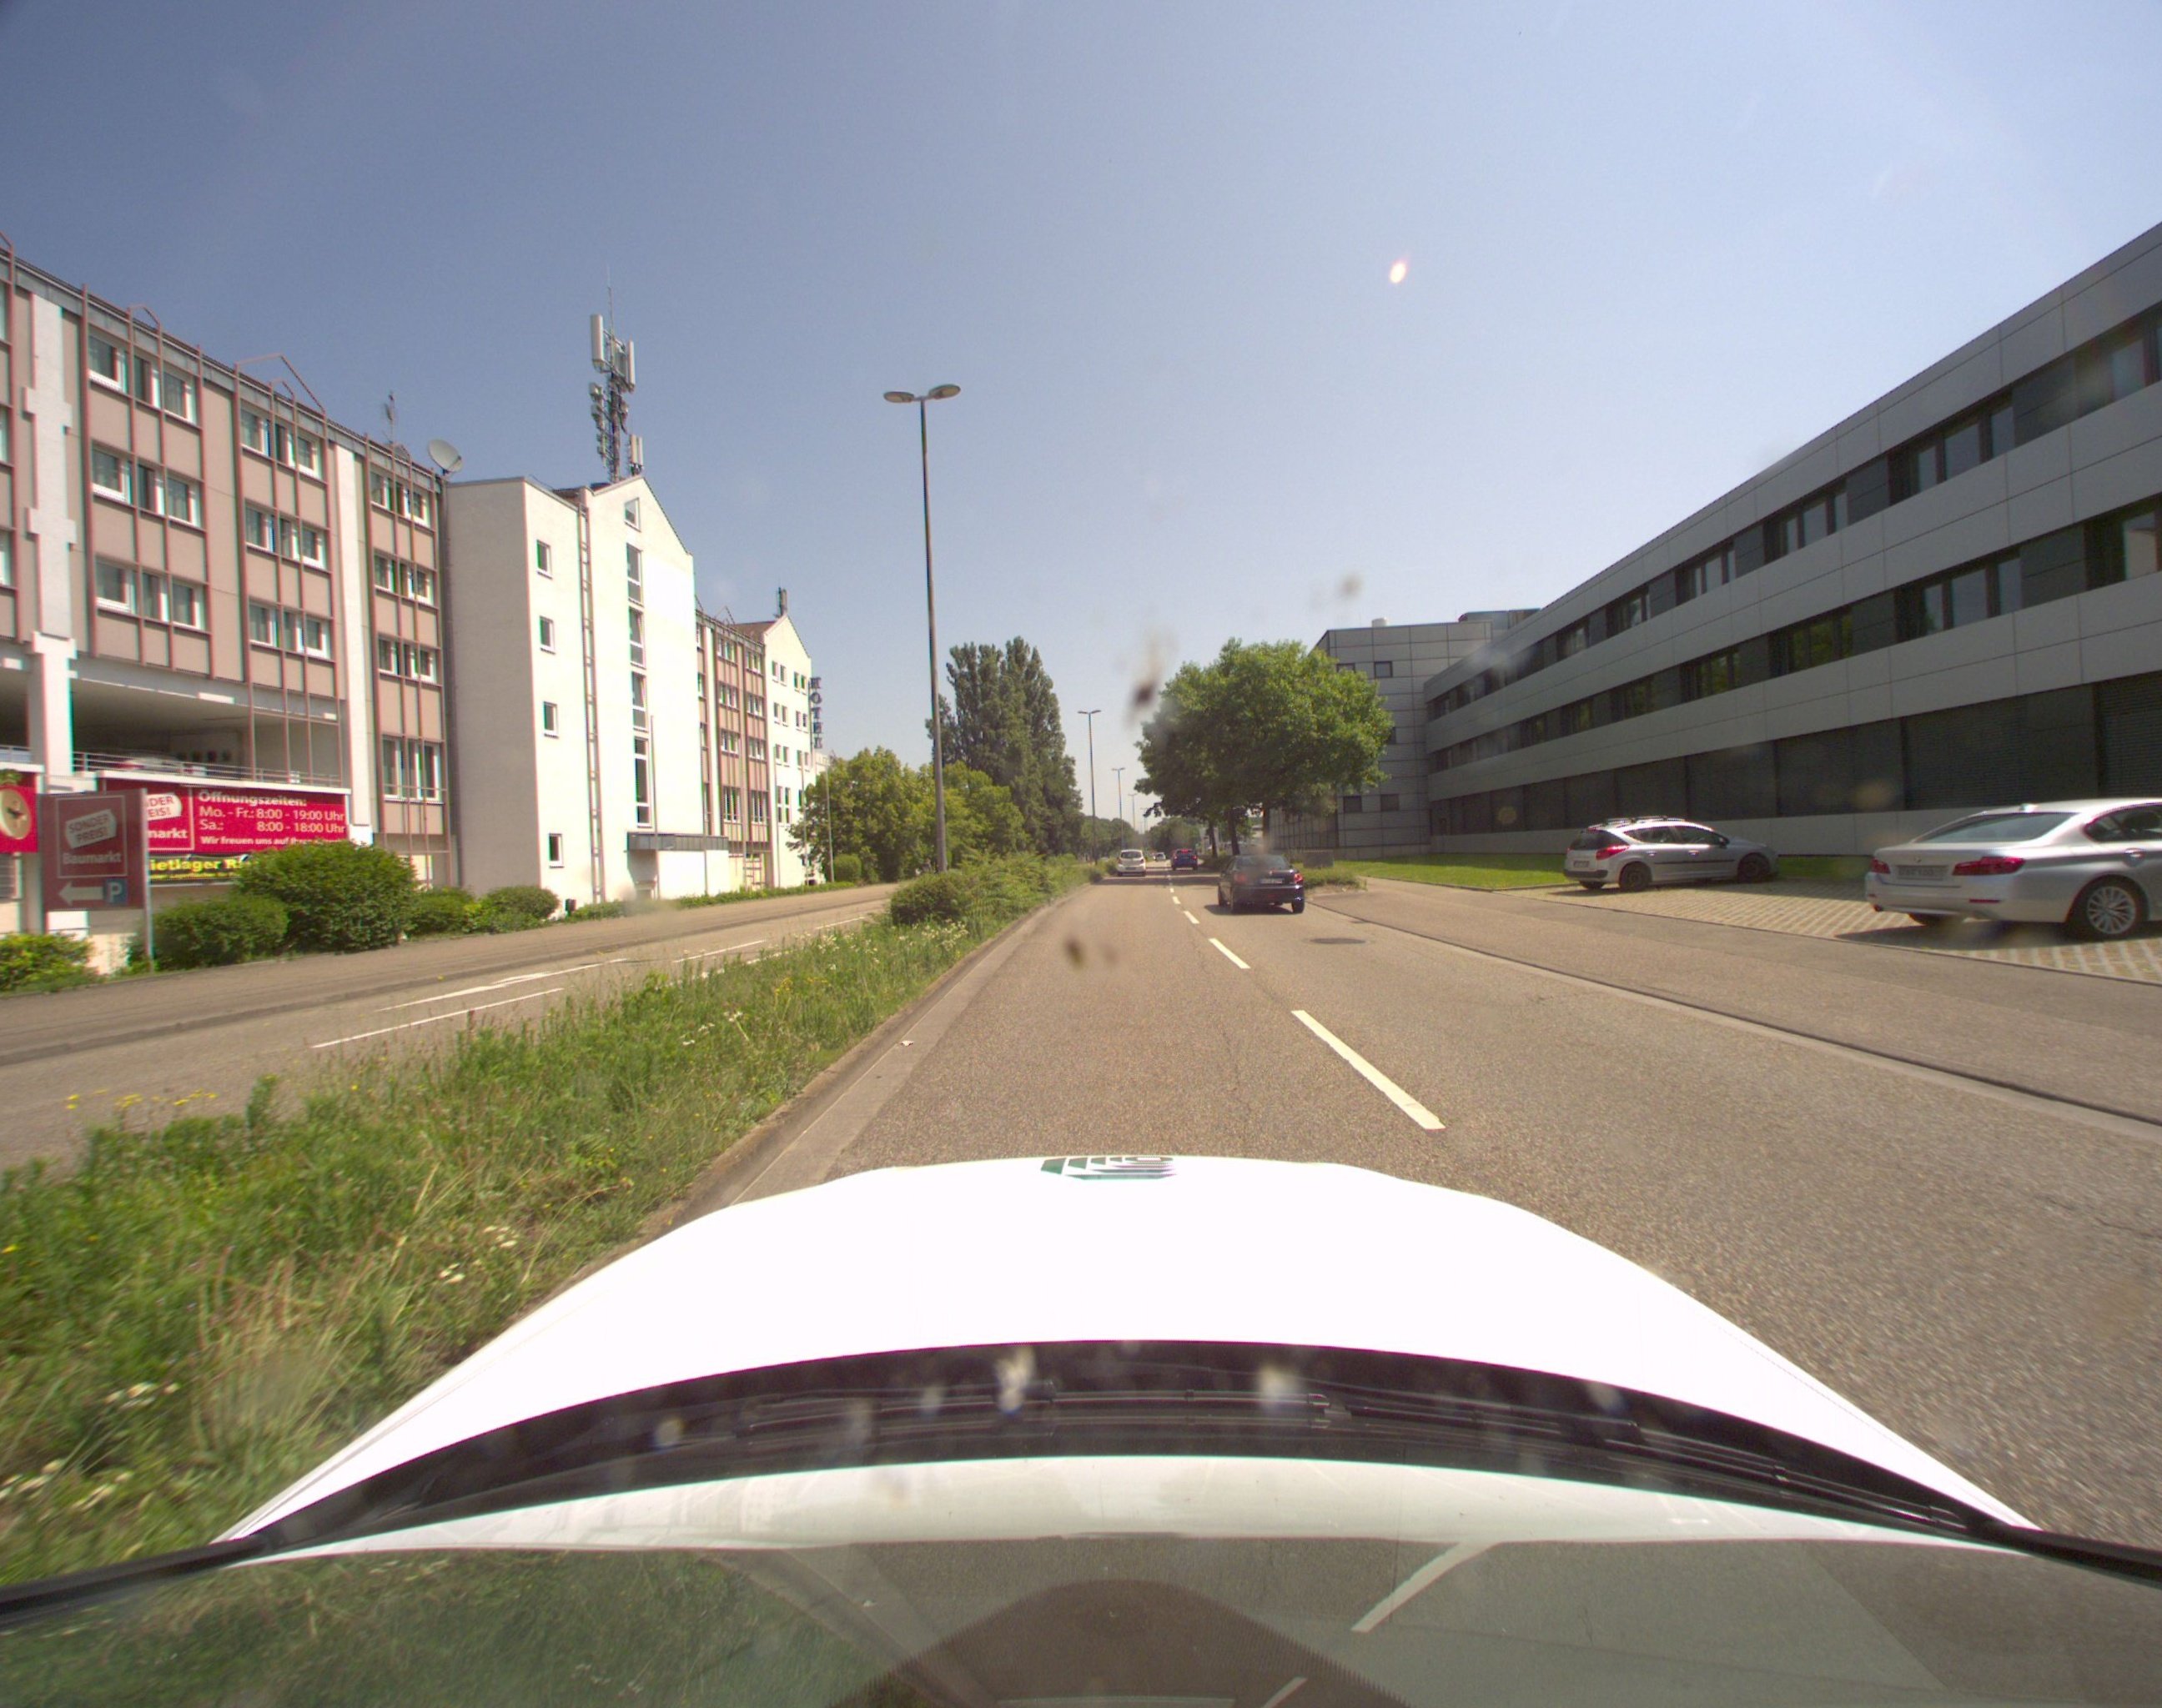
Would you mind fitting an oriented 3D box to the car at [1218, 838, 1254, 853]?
[{"bbox_3d":[20.381,-1.110,107.134,4.478,1.583,2.003,-4,-1,4],"label":"car"}]

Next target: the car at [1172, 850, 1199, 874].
[{"bbox_3d":[7.890,0.579,61.360,1.817,1.580,3.614,-3,0,8],"label":"car"}]

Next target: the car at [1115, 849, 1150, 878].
[{"bbox_3d":[3.035,0.531,47.577,1.739,1.520,3.753,-2,1,7],"label":"car"}]

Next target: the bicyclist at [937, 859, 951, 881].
[{"bbox_3d":[-9.761,1.143,57.894,0.714,1.516,1.027,-3,0,2],"label":"bicyclist"}]

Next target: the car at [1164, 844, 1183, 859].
[{"bbox_3d":[12.023,-0.344,105.877,1.986,1.727,4.002,-3,0,2],"label":"car"}]

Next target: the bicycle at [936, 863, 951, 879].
[{"bbox_3d":[-9.798,1.234,57.981,0.548,1.073,2.064,-2,0,3],"label":"bicycle"}]

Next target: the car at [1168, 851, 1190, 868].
[{"bbox_3d":[9.670,0.538,80.288,1.984,1.442,4.006,-3,0,5],"label":"car"}]

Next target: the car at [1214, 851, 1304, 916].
[{"bbox_3d":[4.252,0.655,19.876,1.620,1.364,3.609,-1,1,4],"label":"car"}]

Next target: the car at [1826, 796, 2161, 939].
[{"bbox_3d":[11.927,0.066,9.490,4.597,1.390,2.001,-3,0,1],"label":"car"}]

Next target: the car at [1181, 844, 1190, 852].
[{"bbox_3d":[27.918,-1.682,217.630,1.763,2.013,3.993,-3,0,2],"label":"car"}]

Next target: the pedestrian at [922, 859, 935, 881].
[{"bbox_3d":[-10.960,1.124,58.547,0.630,1.545,0.728,-3,-1,5],"label":"pedestrian"}]

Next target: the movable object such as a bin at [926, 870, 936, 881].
[{"bbox_3d":[-10.670,1.531,58.093,0.425,0.705,0.654,-4,0,14],"label":"movable object such as a bin"}]

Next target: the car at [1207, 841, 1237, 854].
[{"bbox_3d":[21.131,-0.941,122.427,4.207,1.647,2.003,-4,-1,4],"label":"car"}]

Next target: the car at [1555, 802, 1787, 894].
[{"bbox_3d":[13.010,-0.123,18.130,3.799,1.592,1.733,-6,0,1],"label":"car"}]

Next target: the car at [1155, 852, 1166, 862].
[{"bbox_3d":[14.112,0.594,145.341,1.811,1.662,4.005,-3,0,5],"label":"car"}]

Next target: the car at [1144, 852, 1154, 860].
[{"bbox_3d":[14.965,0.457,179.352,1.813,1.661,4.002,-3,1,2],"label":"car"}]

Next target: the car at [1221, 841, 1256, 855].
[{"bbox_3d":[19.775,-0.771,102.510,3.972,1.618,2.001,-3,0,2],"label":"car"}]
